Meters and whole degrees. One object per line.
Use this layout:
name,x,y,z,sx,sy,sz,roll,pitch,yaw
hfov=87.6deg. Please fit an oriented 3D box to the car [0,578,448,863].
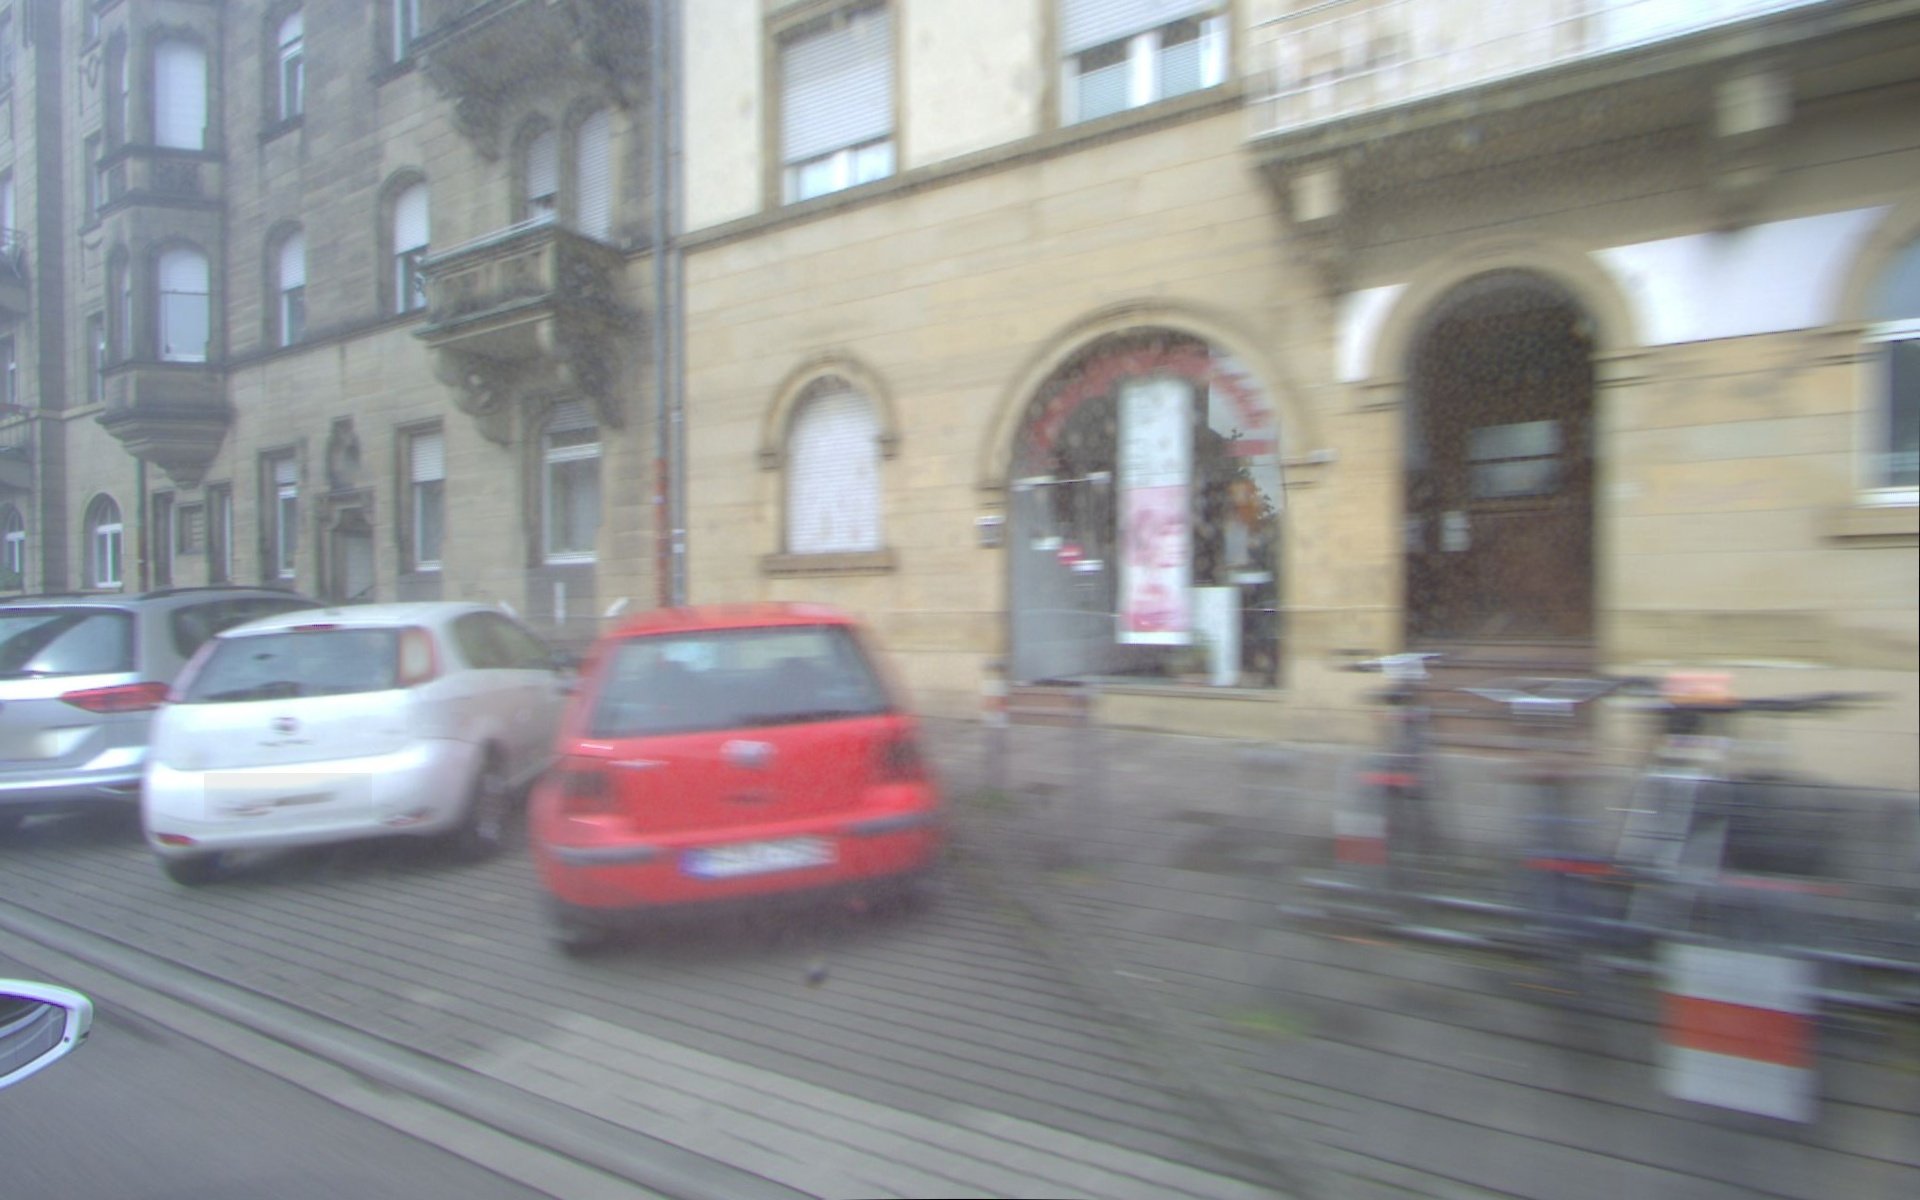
car,-6.125,0.726,8.116,1.879,1.705,4.223,-2,1,-3

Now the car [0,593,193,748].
car,-11.347,0.780,11.705,1.714,1.596,4.460,-1,2,-7

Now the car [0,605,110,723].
car,-13.858,0.886,13.234,1.816,1.573,4.462,-1,0,-7

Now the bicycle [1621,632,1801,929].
bicycle,3.515,0.739,4.790,0.469,1.053,1.729,-1,2,30

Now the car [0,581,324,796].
car,-8.809,0.696,10.170,1.899,1.708,4.749,-2,1,-5

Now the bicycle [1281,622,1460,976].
bicycle,1.912,0.749,4.518,0.488,1.188,1.776,-1,2,30

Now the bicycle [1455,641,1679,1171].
bicycle,1.933,0.788,3.242,0.469,1.188,1.564,-1,2,30

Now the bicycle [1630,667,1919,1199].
bicycle,2.428,0.816,3.087,0.469,1.053,1.729,-1,2,30

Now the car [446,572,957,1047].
car,-1.378,0.683,5.569,1.762,1.583,3.826,-3,3,-15

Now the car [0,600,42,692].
car,-16.537,0.854,15.027,1.993,1.474,4.066,-2,3,-7

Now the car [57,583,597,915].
car,-3.797,0.708,6.847,1.814,1.529,3.583,-2,2,-10

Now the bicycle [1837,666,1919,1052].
bicycle,3.019,0.797,2.833,0.469,1.053,1.729,-1,2,30
